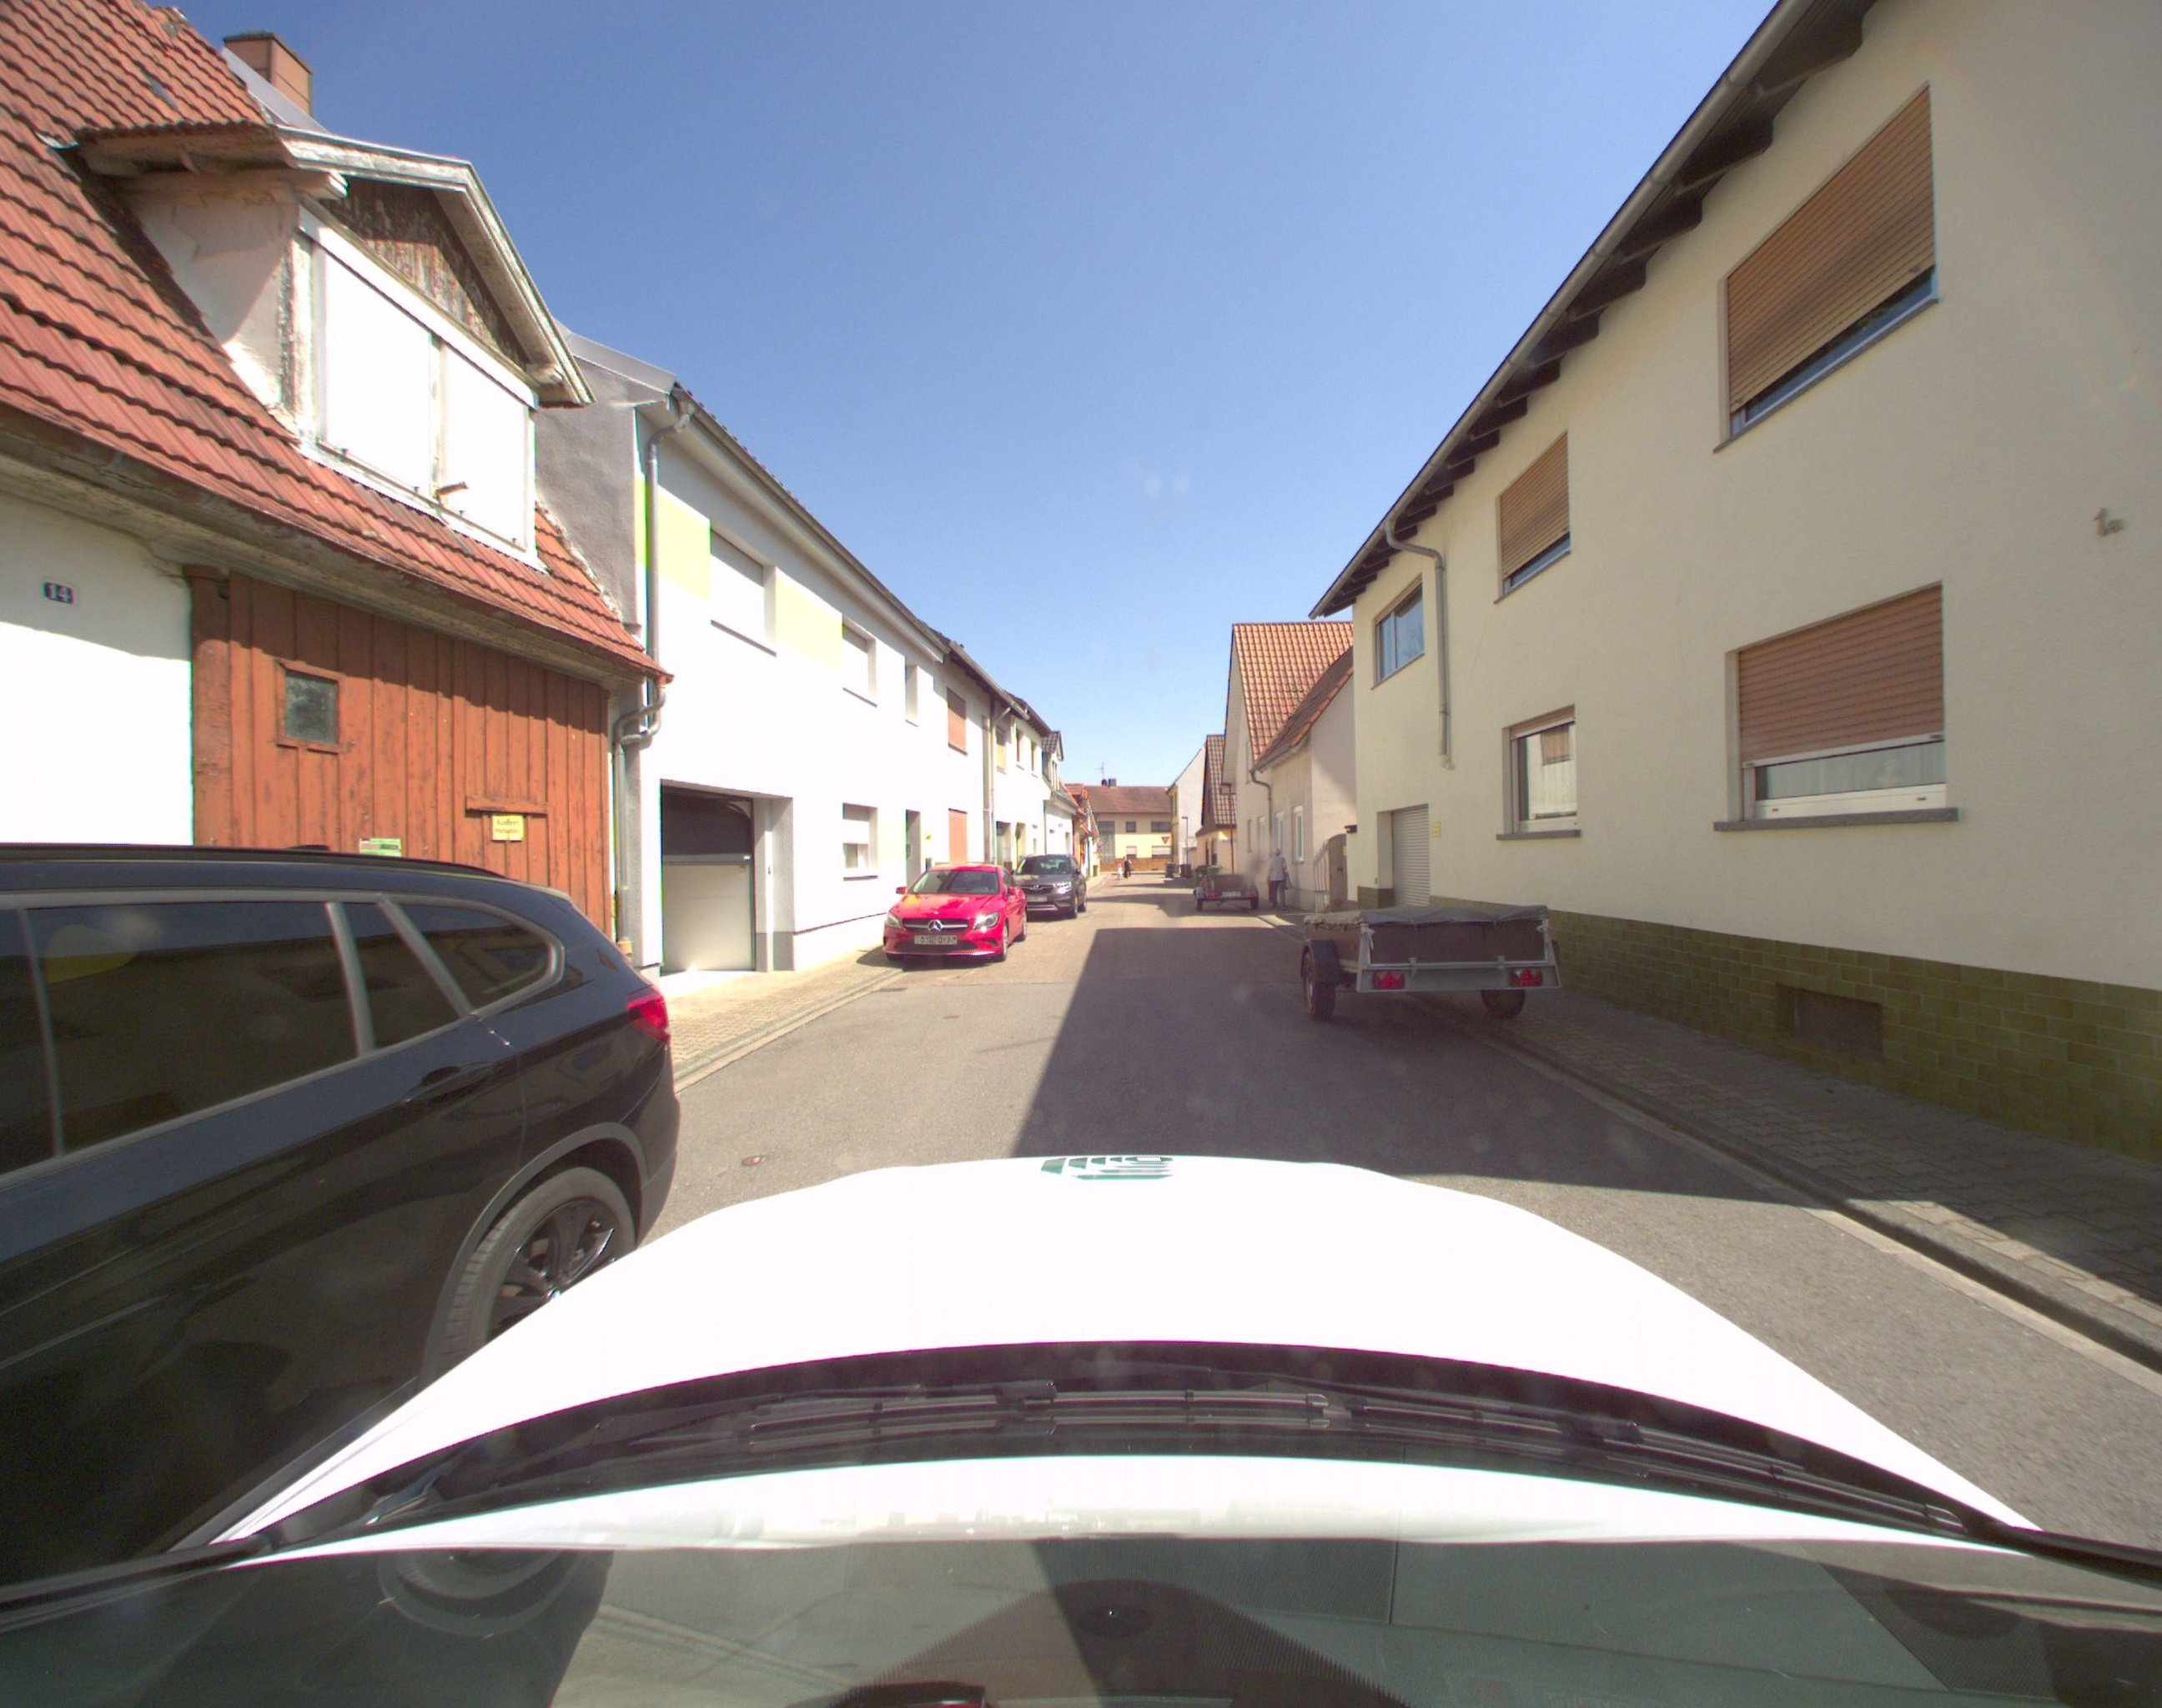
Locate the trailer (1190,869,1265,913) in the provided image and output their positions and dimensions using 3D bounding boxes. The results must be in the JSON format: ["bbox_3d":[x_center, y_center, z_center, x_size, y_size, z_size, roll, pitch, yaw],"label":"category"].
[{"bbox_3d":[4.032,0.991,22.836,1.692,1.033,3.485,-1,0,4],"label":"trailer"}]

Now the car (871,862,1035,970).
[{"bbox_3d":[-1.893,0.879,13.509,1.793,1.441,4.490,-2,-1,2],"label":"car"}]

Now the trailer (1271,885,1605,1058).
[{"bbox_3d":[2.962,0.919,7.605,1.809,1.090,3.485,-1,0,4],"label":"trailer"}]

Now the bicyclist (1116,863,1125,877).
[{"bbox_3d":[2.665,1.084,55.374,0.463,0.959,0.349,-1,0,-25],"label":"bicyclist"}]

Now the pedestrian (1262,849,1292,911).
[{"bbox_3d":[5.106,0.688,21.219,0.593,1.565,0.557,-1,-4,1],"label":"pedestrian"}]

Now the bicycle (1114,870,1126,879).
[{"bbox_3d":[2.653,1.401,55.385,0.443,0.567,0.931,-1,0,-25],"label":"bicycle"}]

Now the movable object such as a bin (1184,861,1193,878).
[{"bbox_3d":[7.160,1.052,54.487,0.523,1.128,0.366,-2,-1,1],"label":"movable object such as a bin"}]

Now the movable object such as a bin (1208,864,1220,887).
[{"bbox_3d":[6.400,1.050,39.173,0.456,1.087,0.503,-2,-1,3],"label":"movable object such as a bin"}]

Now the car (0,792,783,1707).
[{"bbox_3d":[-2.340,0.732,1.125,1.791,1.574,4.621,-2,-1,5],"label":"car"}]

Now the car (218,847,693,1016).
[{"bbox_3d":[-6.802,0.799,9.147,3.968,1.618,1.835,-2,0,4],"label":"car"}]

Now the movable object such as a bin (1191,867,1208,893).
[{"bbox_3d":[4.773,1.049,32.766,0.582,1.033,0.596,-2,-1,3],"label":"movable object such as a bin"}]

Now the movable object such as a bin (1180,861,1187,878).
[{"bbox_3d":[7.197,1.074,57.058,0.424,1.128,0.414,-2,-1,1],"label":"movable object such as a bin"}]

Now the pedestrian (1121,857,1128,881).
[{"bbox_3d":[3.010,1.015,56.112,0.411,1.610,0.367,-2,-1,-6],"label":"pedestrian"}]

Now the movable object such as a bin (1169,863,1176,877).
[{"bbox_3d":[6.448,1.132,57.664,0.422,0.975,0.473,-2,-1,1],"label":"movable object such as a bin"}]

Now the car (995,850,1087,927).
[{"bbox_3d":[-0.920,0.820,21.165,1.792,1.704,4.492,-3,-1,4],"label":"car"}]

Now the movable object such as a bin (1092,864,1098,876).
[{"bbox_3d":[1.126,1.266,63.985,0.447,0.921,0.404,-2,-1,1],"label":"movable object such as a bin"}]

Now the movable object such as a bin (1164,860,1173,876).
[{"bbox_3d":[6.280,0.978,58.285,0.567,1.128,0.454,-2,-1,1],"label":"movable object such as a bin"}]
